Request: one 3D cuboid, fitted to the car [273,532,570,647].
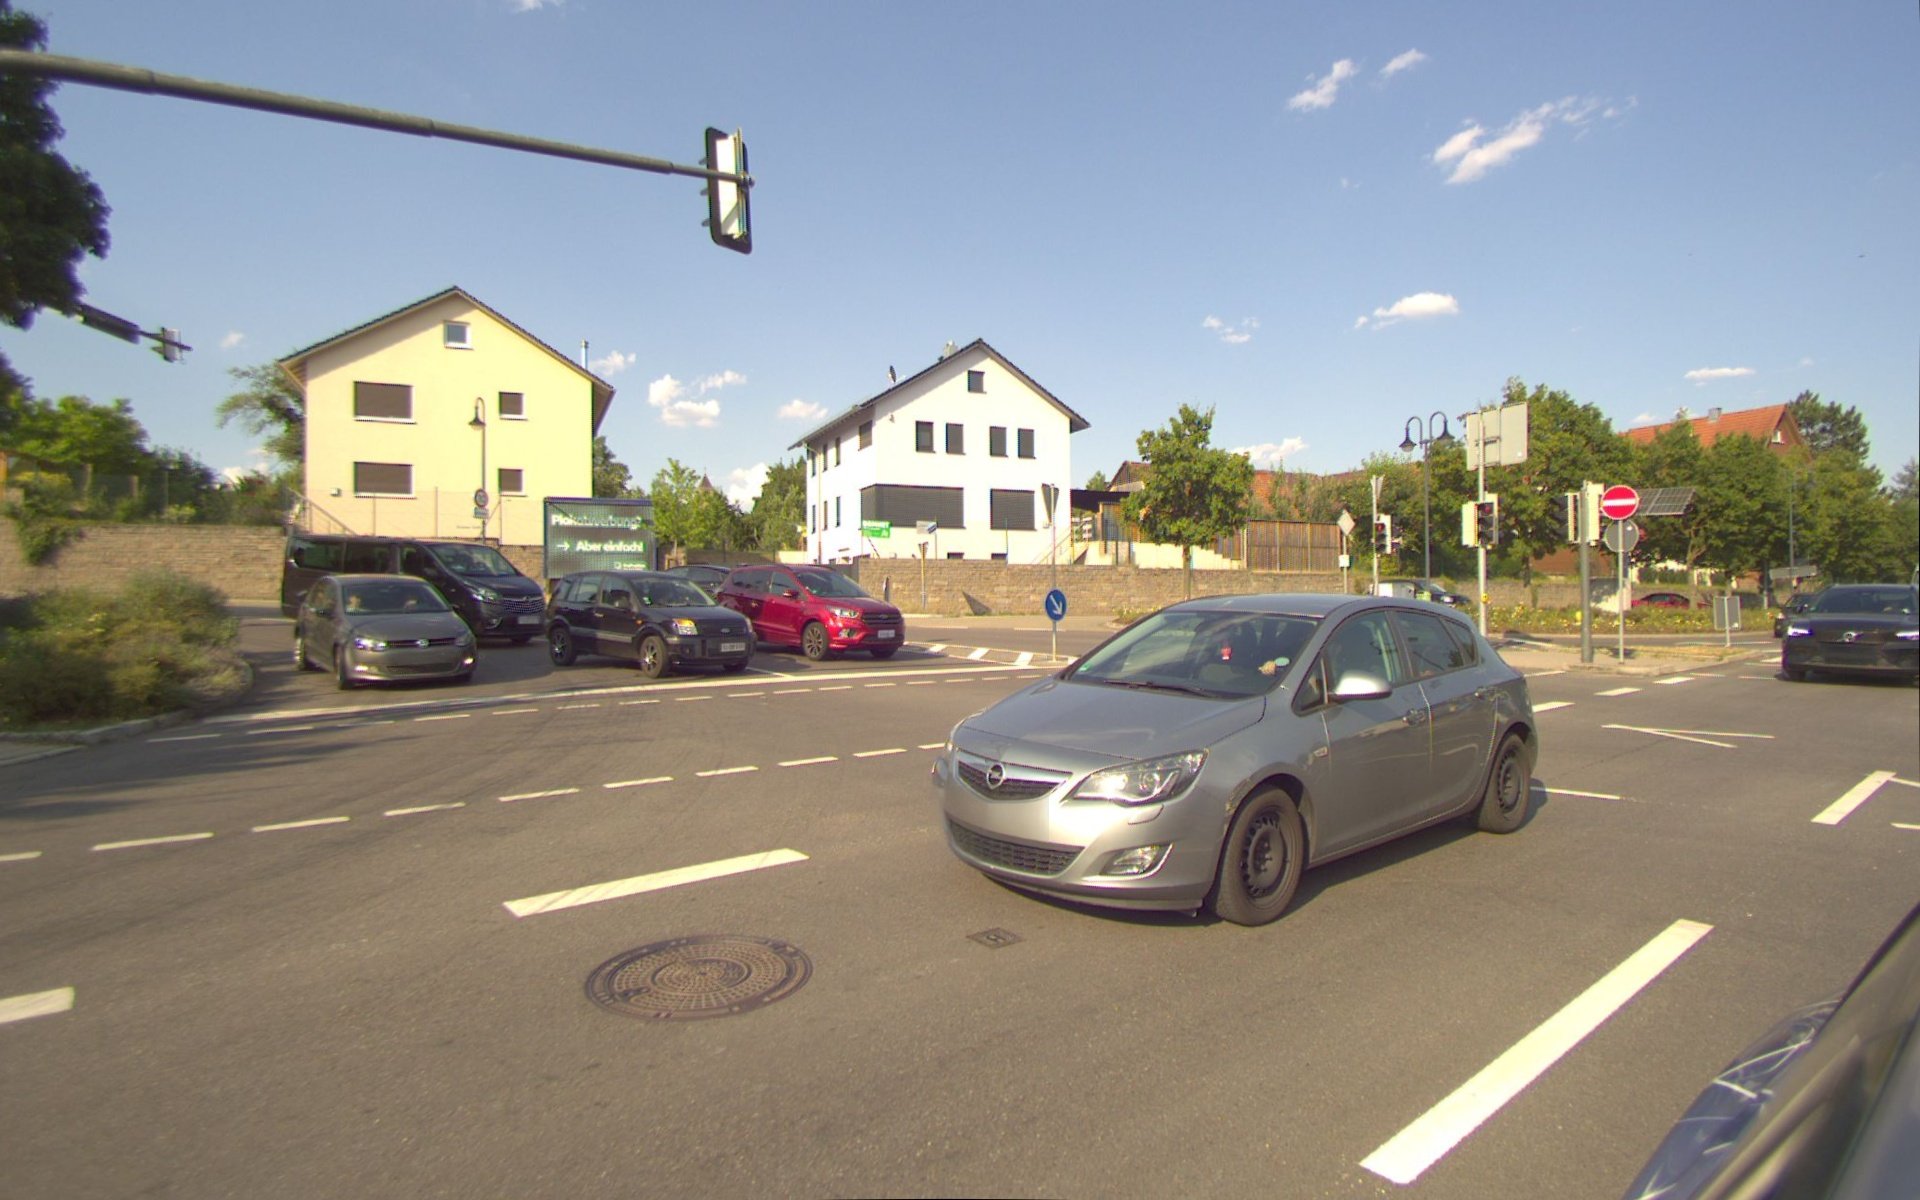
[{"bbox_3d":[-10.358,-0.239,19.522,5.106,1.956,1.990,2,1,16],"label":"car"}]

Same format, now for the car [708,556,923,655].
[{"bbox_3d":[-2.816,0.070,19.100,4.239,1.646,1.832,1,0,44],"label":"car"}]

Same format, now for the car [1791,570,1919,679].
[{"bbox_3d":[15.413,0.352,16.844,3.985,1.625,1.791,0,1,-41],"label":"car"}]

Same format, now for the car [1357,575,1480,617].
[{"bbox_3d":[17.219,-0.166,38.163,1.644,1.474,4.085,0,0,-28],"label":"car"}]

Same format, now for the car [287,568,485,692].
[{"bbox_3d":[-8.165,0.316,14.273,1.600,1.467,3.602,-2,3,-44],"label":"car"}]

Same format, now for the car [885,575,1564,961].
[{"bbox_3d":[1.720,0.623,5.764,4.069,1.440,1.652,0,2,-39],"label":"car"}]

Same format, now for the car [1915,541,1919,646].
[{"bbox_3d":[27.638,-0.182,27.439,6.536,2.691,2.038,-1,1,-42],"label":"car"}]

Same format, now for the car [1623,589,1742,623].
[{"bbox_3d":[32.147,0.225,45.115,1.714,1.449,4.002,0,0,-32],"label":"car"}]

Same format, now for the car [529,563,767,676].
[{"bbox_3d":[-4.882,0.224,15.661,3.775,1.561,1.578,1,1,36],"label":"car"}]

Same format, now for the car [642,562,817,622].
[{"bbox_3d":[-6.343,-0.212,28.111,4.416,1.586,1.842,0,0,6],"label":"car"}]
